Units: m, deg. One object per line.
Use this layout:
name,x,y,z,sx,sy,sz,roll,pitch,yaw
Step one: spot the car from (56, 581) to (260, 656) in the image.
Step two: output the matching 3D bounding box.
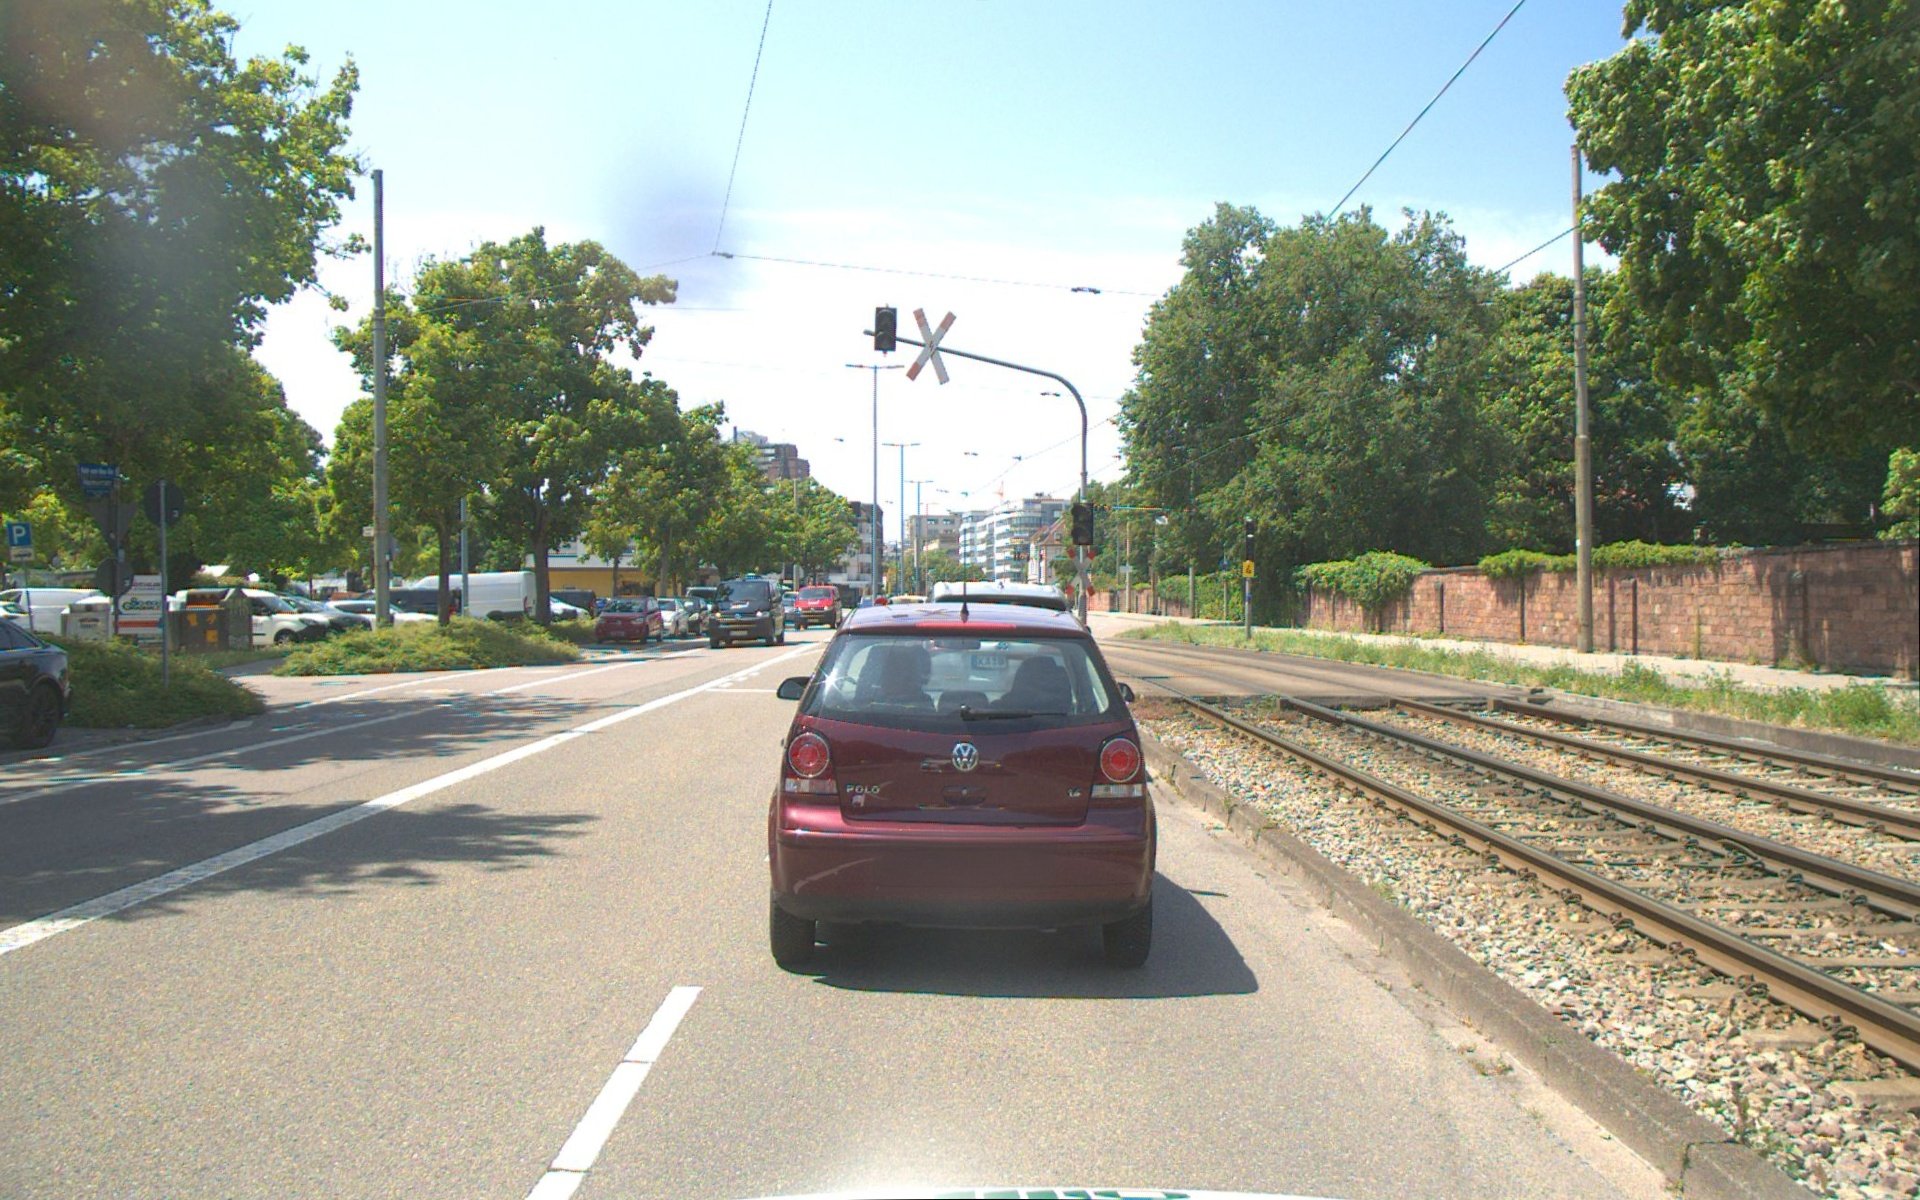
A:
car,-21.038,0.466,43.553,4.361,1.889,2.059,-1,0,-5

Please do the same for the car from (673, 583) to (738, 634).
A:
car,-10.793,0.346,70.483,1.824,1.971,4.806,3,0,2

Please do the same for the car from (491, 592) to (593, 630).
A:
car,-20.987,0.527,83.156,4.623,1.845,1.796,-1,0,-2

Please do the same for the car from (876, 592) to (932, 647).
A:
car,-1.561,0.533,47.302,1.520,1.473,3.411,1,0,-1

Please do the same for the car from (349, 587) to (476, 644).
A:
car,-20.467,0.562,61.903,4.125,2.030,1.856,-1,0,-2

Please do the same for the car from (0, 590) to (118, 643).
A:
car,-32.857,0.578,59.516,4.044,1.852,1.970,0,0,-1

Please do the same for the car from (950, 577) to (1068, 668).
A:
car,1.036,0.417,32.746,1.736,1.659,4.003,1,0,10

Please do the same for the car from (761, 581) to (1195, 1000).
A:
car,0.038,0.695,8.099,1.577,1.524,3.999,1,0,-1

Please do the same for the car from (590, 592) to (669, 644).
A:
car,-10.561,0.570,53.101,1.637,1.573,3.727,1,0,2

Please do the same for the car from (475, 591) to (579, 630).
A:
car,-21.069,0.502,80.609,4.623,1.845,1.796,-1,0,-2

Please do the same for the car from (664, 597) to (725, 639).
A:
car,-10.310,0.675,64.514,1.581,1.510,3.785,3,0,2

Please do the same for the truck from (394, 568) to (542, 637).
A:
truck,-20.708,0.111,69.785,5.463,2.808,2.432,-1,0,0

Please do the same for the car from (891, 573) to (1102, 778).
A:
car,0.278,0.632,16.002,1.759,1.712,3.999,1,0,-1

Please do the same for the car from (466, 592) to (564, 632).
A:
car,-21.028,0.554,78.323,4.125,1.796,1.856,-1,0,-2

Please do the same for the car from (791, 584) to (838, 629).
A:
car,-6.643,0.288,75.949,1.861,1.959,4.818,-1,0,-2

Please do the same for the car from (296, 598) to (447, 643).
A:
car,-21.035,0.725,59.234,4.665,1.514,2.057,-1,0,-2

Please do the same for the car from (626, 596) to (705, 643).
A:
car,-10.533,0.668,59.439,1.683,1.451,4.773,-4,0,3

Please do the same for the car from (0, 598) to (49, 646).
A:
car,-33.765,0.747,57.057,3.670,1.603,1.732,0,0,-1

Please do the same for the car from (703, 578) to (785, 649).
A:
car,-6.329,0.375,48.912,1.879,1.944,4.570,-1,0,-1

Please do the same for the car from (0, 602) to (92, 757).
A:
car,-10.242,0.776,15.516,1.856,1.482,4.807,1,0,-3

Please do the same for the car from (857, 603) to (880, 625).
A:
car,-6.380,0.956,115.654,1.376,1.465,3.839,3,0,0

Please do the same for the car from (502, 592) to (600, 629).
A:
car,-21.189,0.538,85.709,4.623,1.845,1.796,-1,0,-2

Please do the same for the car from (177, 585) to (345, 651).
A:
car,-20.379,0.517,48.342,4.178,1.867,1.673,-1,0,1

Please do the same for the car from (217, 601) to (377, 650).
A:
car,-20.479,0.771,51.228,4.114,1.428,2.079,-1,0,-5

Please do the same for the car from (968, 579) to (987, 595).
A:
car,2.145,-1.587,202.314,1.881,1.944,4.566,-1,0,-5
